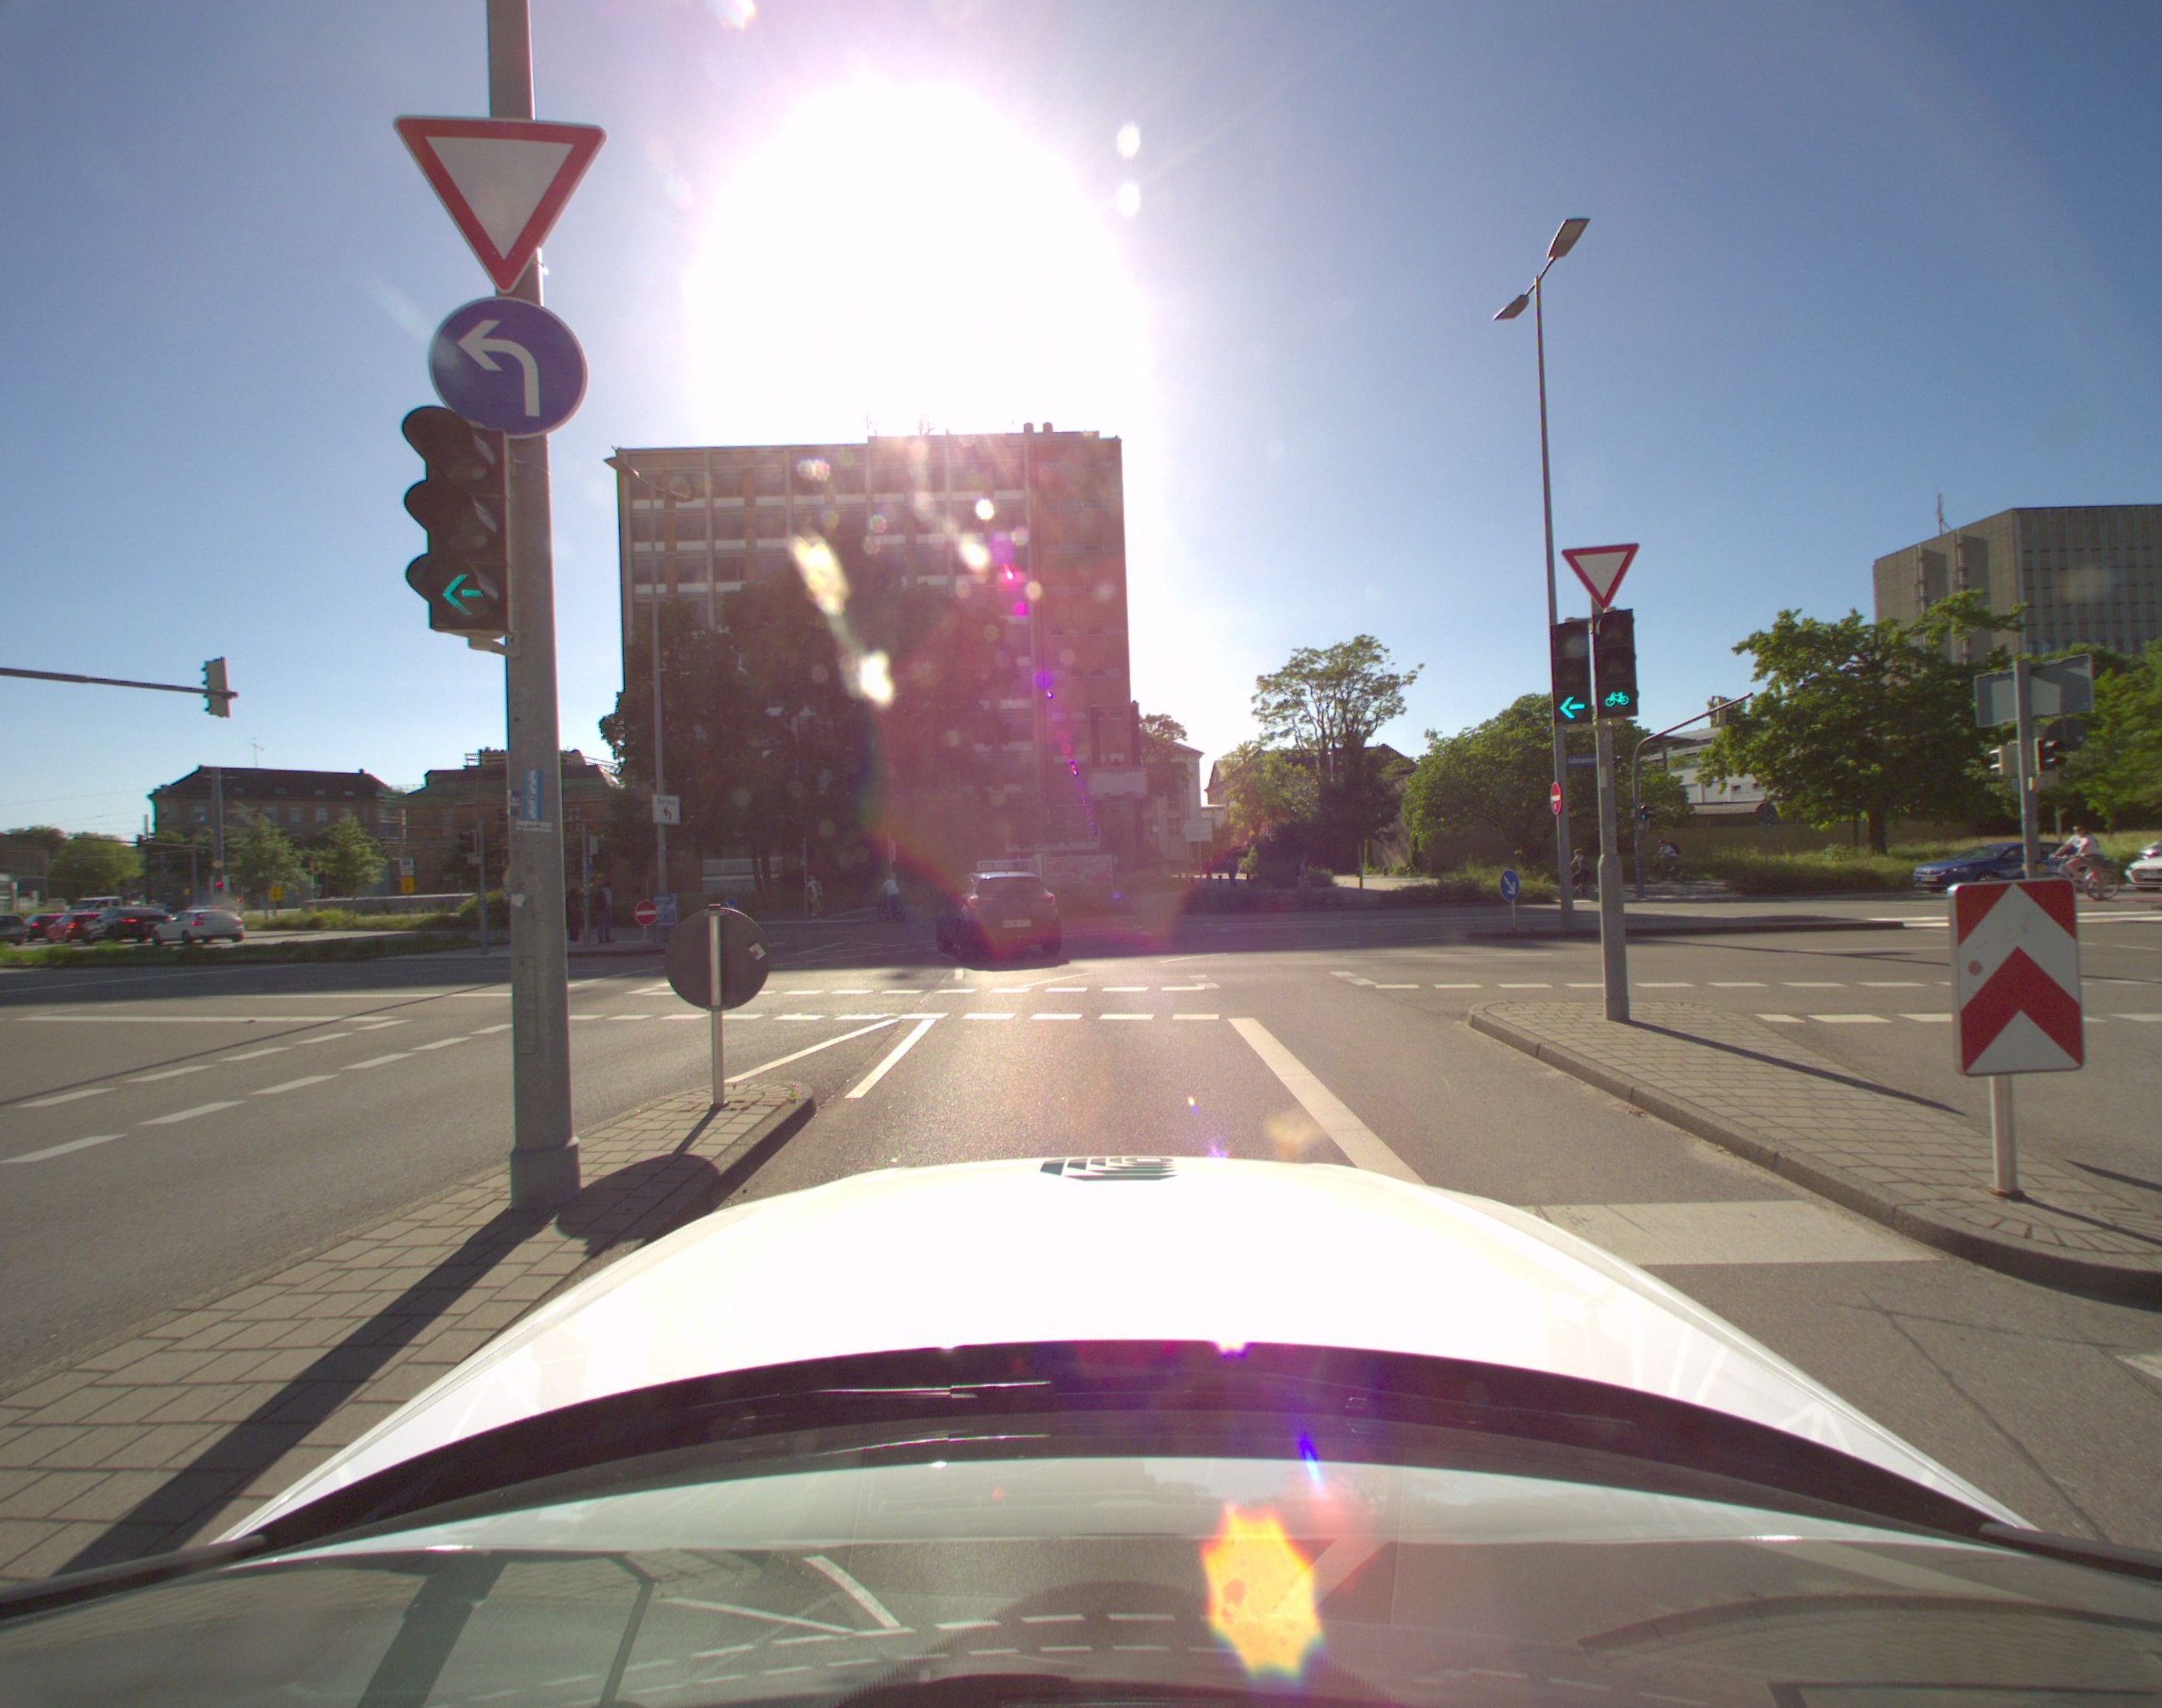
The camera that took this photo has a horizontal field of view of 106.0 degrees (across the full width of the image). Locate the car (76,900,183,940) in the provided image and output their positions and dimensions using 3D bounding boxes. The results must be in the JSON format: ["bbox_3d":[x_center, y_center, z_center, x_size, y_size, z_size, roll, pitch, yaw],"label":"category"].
[{"bbox_3d":[-43.863,3.055,37.541,4.324,1.624,2.001,-3,-1,23],"label":"car"}]

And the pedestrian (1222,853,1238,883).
[{"bbox_3d":[8.270,0.767,45.279,0.669,1.643,0.740,0,-1,27],"label":"pedestrian"}]

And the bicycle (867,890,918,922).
[{"bbox_3d":[-7.265,1.998,31.368,1.847,1.165,0.722,-2,-1,25],"label":"bicycle"}]

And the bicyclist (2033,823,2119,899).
[{"bbox_3d":[23.246,0.169,19.049,0.970,1.685,0.747,-4,-1,2],"label":"bicyclist"}]

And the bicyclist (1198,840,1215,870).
[{"bbox_3d":[7.351,0.071,47.692,0.713,1.735,0.983,-2,-1,21],"label":"bicyclist"}]

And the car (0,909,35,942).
[{"bbox_3d":[-49.998,3.308,37.393,3.751,1.442,1.741,-3,-2,27],"label":"car"}]

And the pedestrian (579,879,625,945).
[{"bbox_3d":[-13.836,1.654,23.551,0.753,1.833,1.092,-2,-2,-8],"label":"pedestrian"}]

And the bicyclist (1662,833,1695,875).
[{"bbox_3d":[23.516,-0.002,32.067,0.823,1.595,0.634,-3,2,16],"label":"bicyclist"}]

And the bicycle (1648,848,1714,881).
[{"bbox_3d":[23.604,0.404,32.067,1.936,1.165,0.646,-3,2,15],"label":"bicycle"}]

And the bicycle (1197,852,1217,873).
[{"bbox_3d":[7.373,0.489,47.694,0.739,1.165,1.880,-2,-1,20],"label":"bicycle"}]

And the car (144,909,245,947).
[{"bbox_3d":[-37.662,3.146,34.606,3.691,1.436,1.706,-3,-1,23],"label":"car"}]

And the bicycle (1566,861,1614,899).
[{"bbox_3d":[17.159,0.863,27.480,0.637,1.165,1.875,-3,1,9],"label":"bicycle"}]

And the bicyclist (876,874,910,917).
[{"bbox_3d":[-7.233,1.585,31.349,0.965,1.617,0.726,-2,-1,26],"label":"bicyclist"}]

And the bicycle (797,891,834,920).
[{"bbox_3d":[-11.442,2.188,35.089,0.752,1.165,1.847,-1,-1,-44],"label":"bicycle"}]

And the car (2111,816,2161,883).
[{"bbox_3d":[33.969,-0.202,23.871,4.720,1.953,1.941,-2,-2,4],"label":"car"}]

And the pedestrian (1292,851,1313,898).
[{"bbox_3d":[8.653,0.787,31.790,0.727,1.816,0.735,0,-1,18],"label":"pedestrian"}]

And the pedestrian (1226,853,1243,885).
[{"bbox_3d":[8.010,0.767,42.456,0.669,1.643,0.740,-1,-1,33],"label":"pedestrian"}]

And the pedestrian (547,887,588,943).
[{"bbox_3d":[-15.232,1.803,24.169,0.713,1.612,0.683,-3,-1,9],"label":"pedestrian"}]

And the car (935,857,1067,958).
[{"bbox_3d":[-1.669,1.049,15.682,1.880,1.618,3.776,-2,-4,-15],"label":"car"}]

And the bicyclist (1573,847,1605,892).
[{"bbox_3d":[17.147,0.513,27.504,0.637,1.444,0.778,-3,1,8],"label":"bicyclist"}]

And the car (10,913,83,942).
[{"bbox_3d":[-54.914,3.889,43.222,3.750,1.443,1.741,-3,-3,28],"label":"car"}]

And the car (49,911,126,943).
[{"bbox_3d":[-49.304,3.615,40.409,3.674,1.443,1.687,-3,-3,28],"label":"car"}]

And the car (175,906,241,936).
[{"bbox_3d":[-51.788,3.985,48.310,3.578,1.618,1.894,-3,-3,30],"label":"car"}]

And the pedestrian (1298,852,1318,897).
[{"bbox_3d":[9.081,0.808,32.571,0.727,1.782,0.735,0,-1,18],"label":"pedestrian"}]

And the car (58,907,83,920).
[{"bbox_3d":[-131.870,7.737,106.284,3.594,1.544,1.797,-1,-1,43],"label":"car"}]

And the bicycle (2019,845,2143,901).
[{"bbox_3d":[23.358,0.437,19.049,1.857,1.165,0.749,-4,-1,2],"label":"bicycle"}]

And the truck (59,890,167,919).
[{"bbox_3d":[-89.412,4.629,75.422,2.211,2.313,6.870,-2,-1,-5],"label":"truck"}]

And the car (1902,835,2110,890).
[{"bbox_3d":[27.257,0.283,24.107,3.969,1.442,1.707,-2,-2,4],"label":"car"}]

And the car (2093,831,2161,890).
[{"bbox_3d":[29.445,0.089,20.924,3.964,1.469,2.005,-3,-1,9],"label":"car"}]

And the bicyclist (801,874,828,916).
[{"bbox_3d":[-11.514,1.757,35.153,0.726,1.763,0.965,-1,-1,-44],"label":"bicyclist"}]
